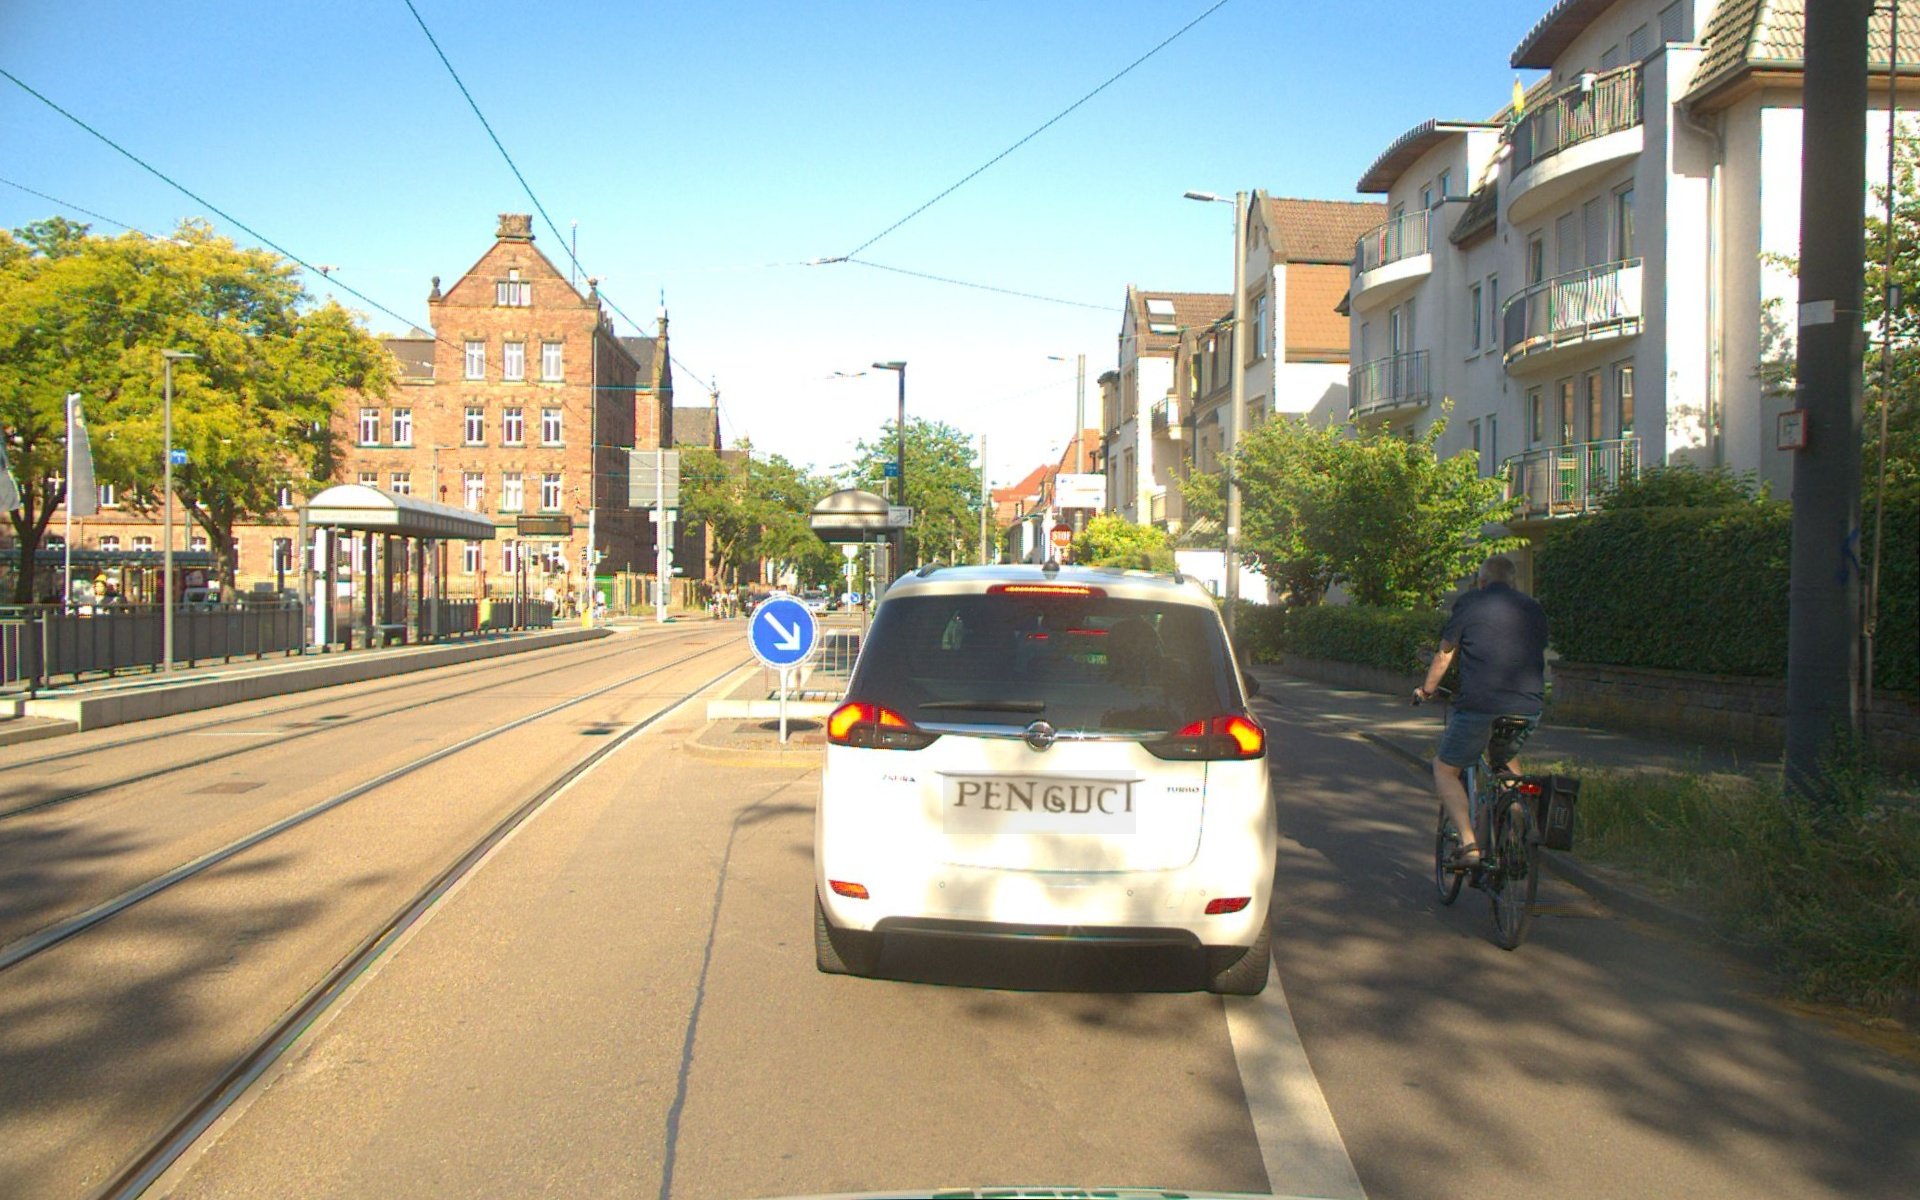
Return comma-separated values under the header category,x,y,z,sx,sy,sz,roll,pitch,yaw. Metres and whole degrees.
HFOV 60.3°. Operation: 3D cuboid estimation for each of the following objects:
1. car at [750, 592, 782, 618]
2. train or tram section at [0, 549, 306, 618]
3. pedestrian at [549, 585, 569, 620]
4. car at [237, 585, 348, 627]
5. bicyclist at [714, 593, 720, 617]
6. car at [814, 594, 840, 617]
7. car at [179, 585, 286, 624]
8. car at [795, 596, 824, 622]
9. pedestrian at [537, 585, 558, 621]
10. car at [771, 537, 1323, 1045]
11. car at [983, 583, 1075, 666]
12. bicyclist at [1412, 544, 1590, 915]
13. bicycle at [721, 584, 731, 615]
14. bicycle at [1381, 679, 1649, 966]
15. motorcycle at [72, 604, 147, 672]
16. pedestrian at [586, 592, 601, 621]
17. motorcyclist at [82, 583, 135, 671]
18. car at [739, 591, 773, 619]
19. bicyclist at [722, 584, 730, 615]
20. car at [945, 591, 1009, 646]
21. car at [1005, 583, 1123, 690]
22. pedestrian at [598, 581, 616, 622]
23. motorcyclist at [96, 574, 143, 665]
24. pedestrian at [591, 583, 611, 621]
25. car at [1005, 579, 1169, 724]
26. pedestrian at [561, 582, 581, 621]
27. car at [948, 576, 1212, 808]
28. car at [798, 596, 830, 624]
category,x,y,z,sx,sy,sz,roll,pitch,yaw
car,-13.297,0.356,113.500,1.711,1.746,3.999,1,0,-1
train or tram section,-40.743,-0.768,79.426,17.048,3.210,3.343,0,0,-6
pedestrian,-22.088,0.150,91.094,0.791,1.934,0.744,1,-1,18
car,-28.111,0.262,69.750,3.908,1.658,1.817,1,0,-4
bicyclist,-15.097,0.288,102.805,0.307,1.469,0.384,0,0,-1
car,-10.346,0.443,128.901,1.711,1.746,3.999,1,0,-1
car,-32.441,0.215,73.823,3.908,1.658,1.817,1,0,-4
car,-10.461,0.597,115.045,1.711,1.746,3.999,1,0,-1
pedestrian,-22.101,0.167,88.677,0.791,1.934,0.744,1,-1,13
car,0.502,0.626,7.611,1.866,1.690,4.003,0,0,6
car,1.448,0.499,36.120,1.868,1.690,4.000,0,0,0
bicyclist,2.613,0.599,8.053,0.603,1.716,0.779,0,0,-1
bicycle,-15.381,-0.045,108.728,0.477,2.049,1.405,0,0,-1
bicycle,2.613,0.995,8.025,0.611,1.116,1.973,0,0,-1
motorcycle,-14.419,0.627,28.086,0.598,1.112,1.852,0,0,-10
pedestrian,-21.058,0.368,94.979,0.640,1.640,0.711,1,-1,1
motorcyclist,-14.406,0.452,27.990,0.671,1.466,0.445,0,0,-10
car,-13.152,0.296,106.836,1.711,1.746,3.999,1,0,-1
bicyclist,-15.376,-0.045,108.746,0.488,2.049,0.572,0,0,-1
car,0.506,0.551,53.083,1.869,1.690,3.998,0,0,-2
car,1.790,0.572,28.287,1.867,1.690,4.002,0,0,4
pedestrian,-18.072,0.085,84.679,0.782,2.049,0.717,1,-1,-18
motorcyclist,-14.488,0.330,28.508,0.595,1.542,0.465,0,0,-11
pedestrian,-19.249,0.110,88.670,0.789,2.049,0.711,1,-1,-38
car,1.680,0.582,21.008,1.866,1.653,4.003,0,0,6
pedestrian,-20.703,0.081,88.026,0.788,2.049,0.712,1,-1,-34
car,1.068,0.641,13.775,1.866,1.625,4.003,0,0,6
car,-9.444,0.619,107.204,1.711,1.746,3.999,1,0,-1
